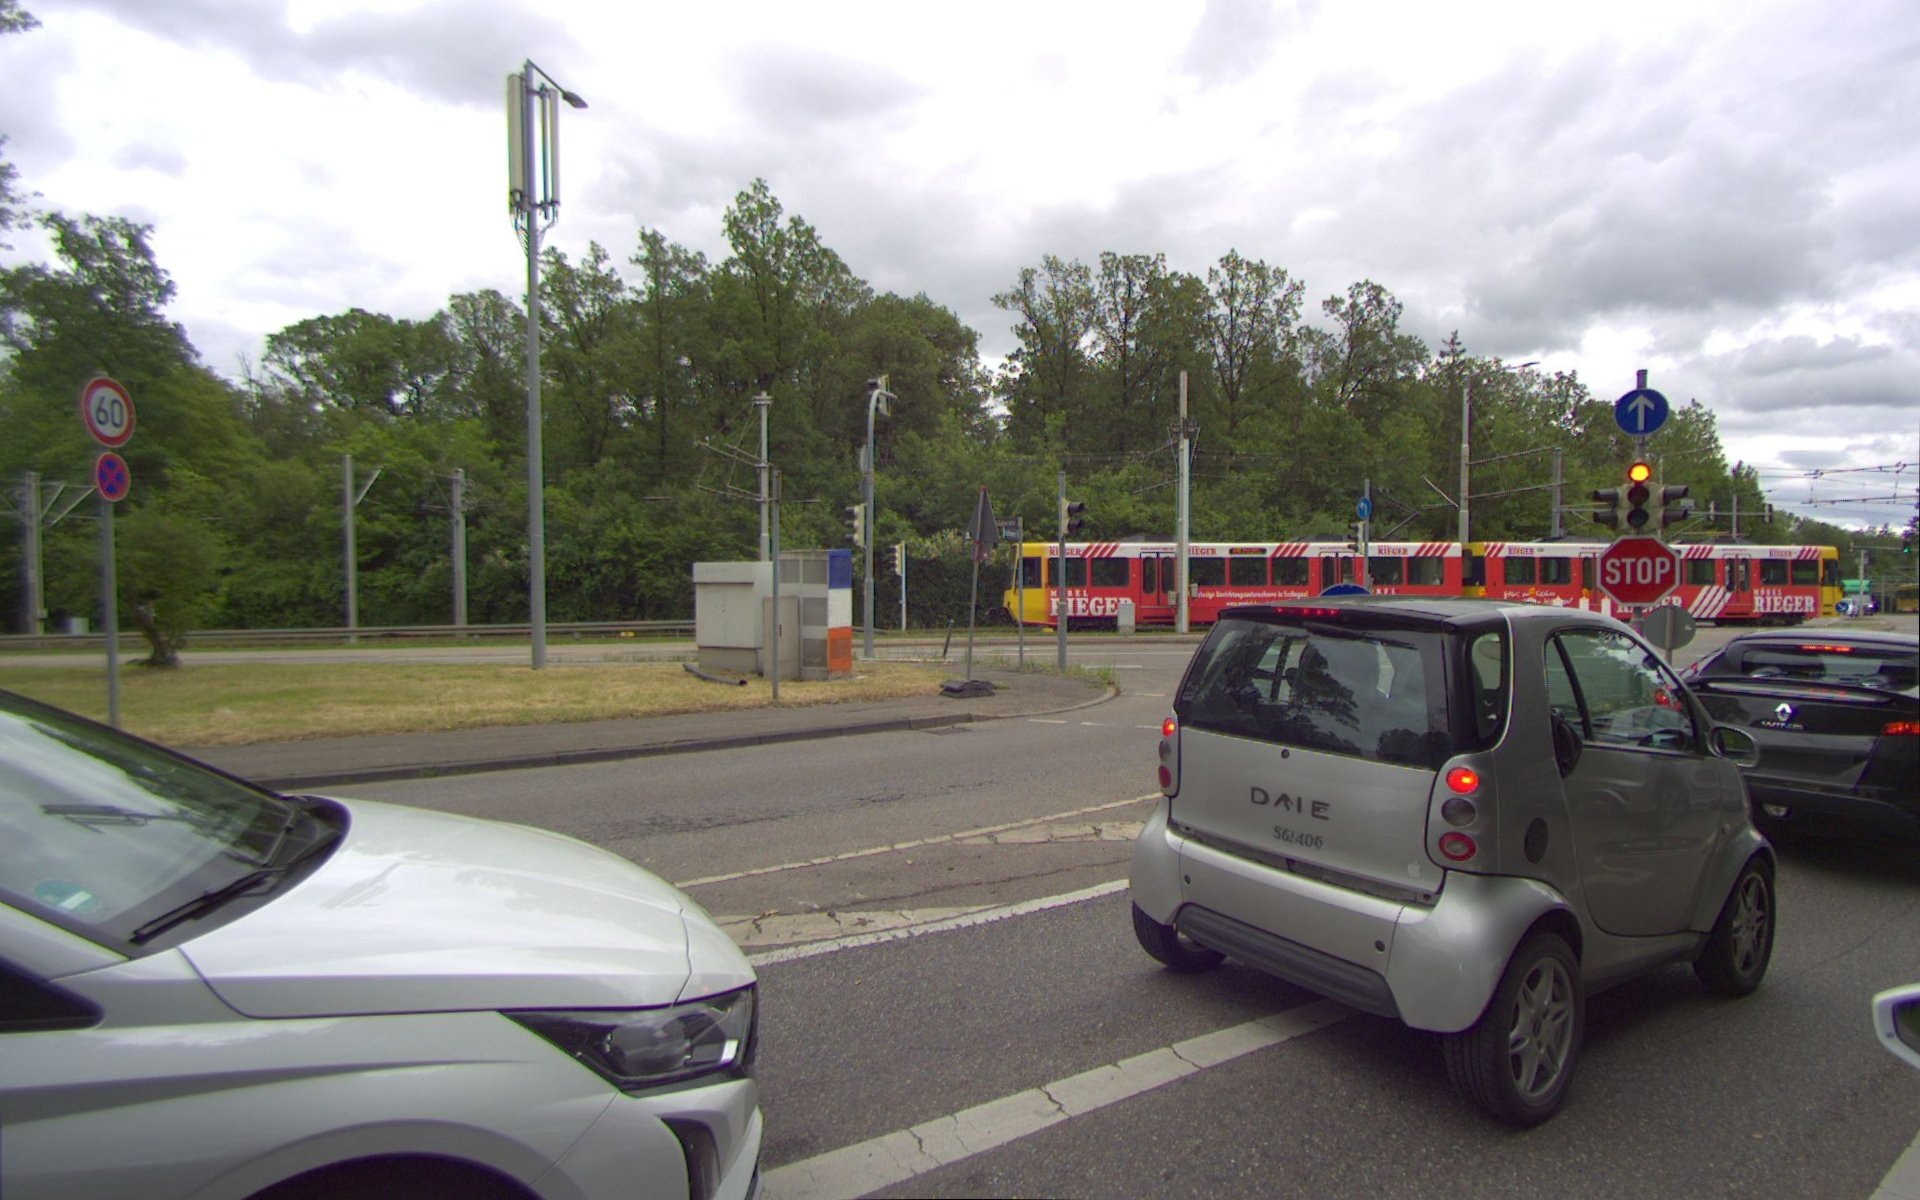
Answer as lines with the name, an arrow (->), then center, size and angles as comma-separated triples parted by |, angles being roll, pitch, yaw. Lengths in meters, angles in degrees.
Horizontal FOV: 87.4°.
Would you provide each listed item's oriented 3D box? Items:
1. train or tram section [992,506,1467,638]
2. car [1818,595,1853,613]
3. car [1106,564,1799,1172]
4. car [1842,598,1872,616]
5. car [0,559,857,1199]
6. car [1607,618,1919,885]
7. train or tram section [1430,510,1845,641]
train or tram section -> 10.645, -1.039, 40.269 | 18.372, 4.477, 2.963 | 2, 0, -5
car -> 74.822, 0.328, 85.818 | 1.942, 1.562, 4.368 | 1, 1, 45
car -> 2.061, 0.717, 4.053 | 2.701, 1.607, 1.447 | 0, 0, -36
car -> 84.699, 0.638, 94.828 | 1.942, 1.561, 4.283 | 1, 1, 45
car -> -2.332, 0.701, 1.604 | 4.022, 1.499, 1.643 | 0, 0, -28
car -> 6.042, 0.839, 6.932 | 3.448, 1.380, 1.759 | 0, 0, -41
train or tram section -> 28.969, -0.883, 42.792 | 18.226, 4.712, 2.949 | 2, 0, -13
